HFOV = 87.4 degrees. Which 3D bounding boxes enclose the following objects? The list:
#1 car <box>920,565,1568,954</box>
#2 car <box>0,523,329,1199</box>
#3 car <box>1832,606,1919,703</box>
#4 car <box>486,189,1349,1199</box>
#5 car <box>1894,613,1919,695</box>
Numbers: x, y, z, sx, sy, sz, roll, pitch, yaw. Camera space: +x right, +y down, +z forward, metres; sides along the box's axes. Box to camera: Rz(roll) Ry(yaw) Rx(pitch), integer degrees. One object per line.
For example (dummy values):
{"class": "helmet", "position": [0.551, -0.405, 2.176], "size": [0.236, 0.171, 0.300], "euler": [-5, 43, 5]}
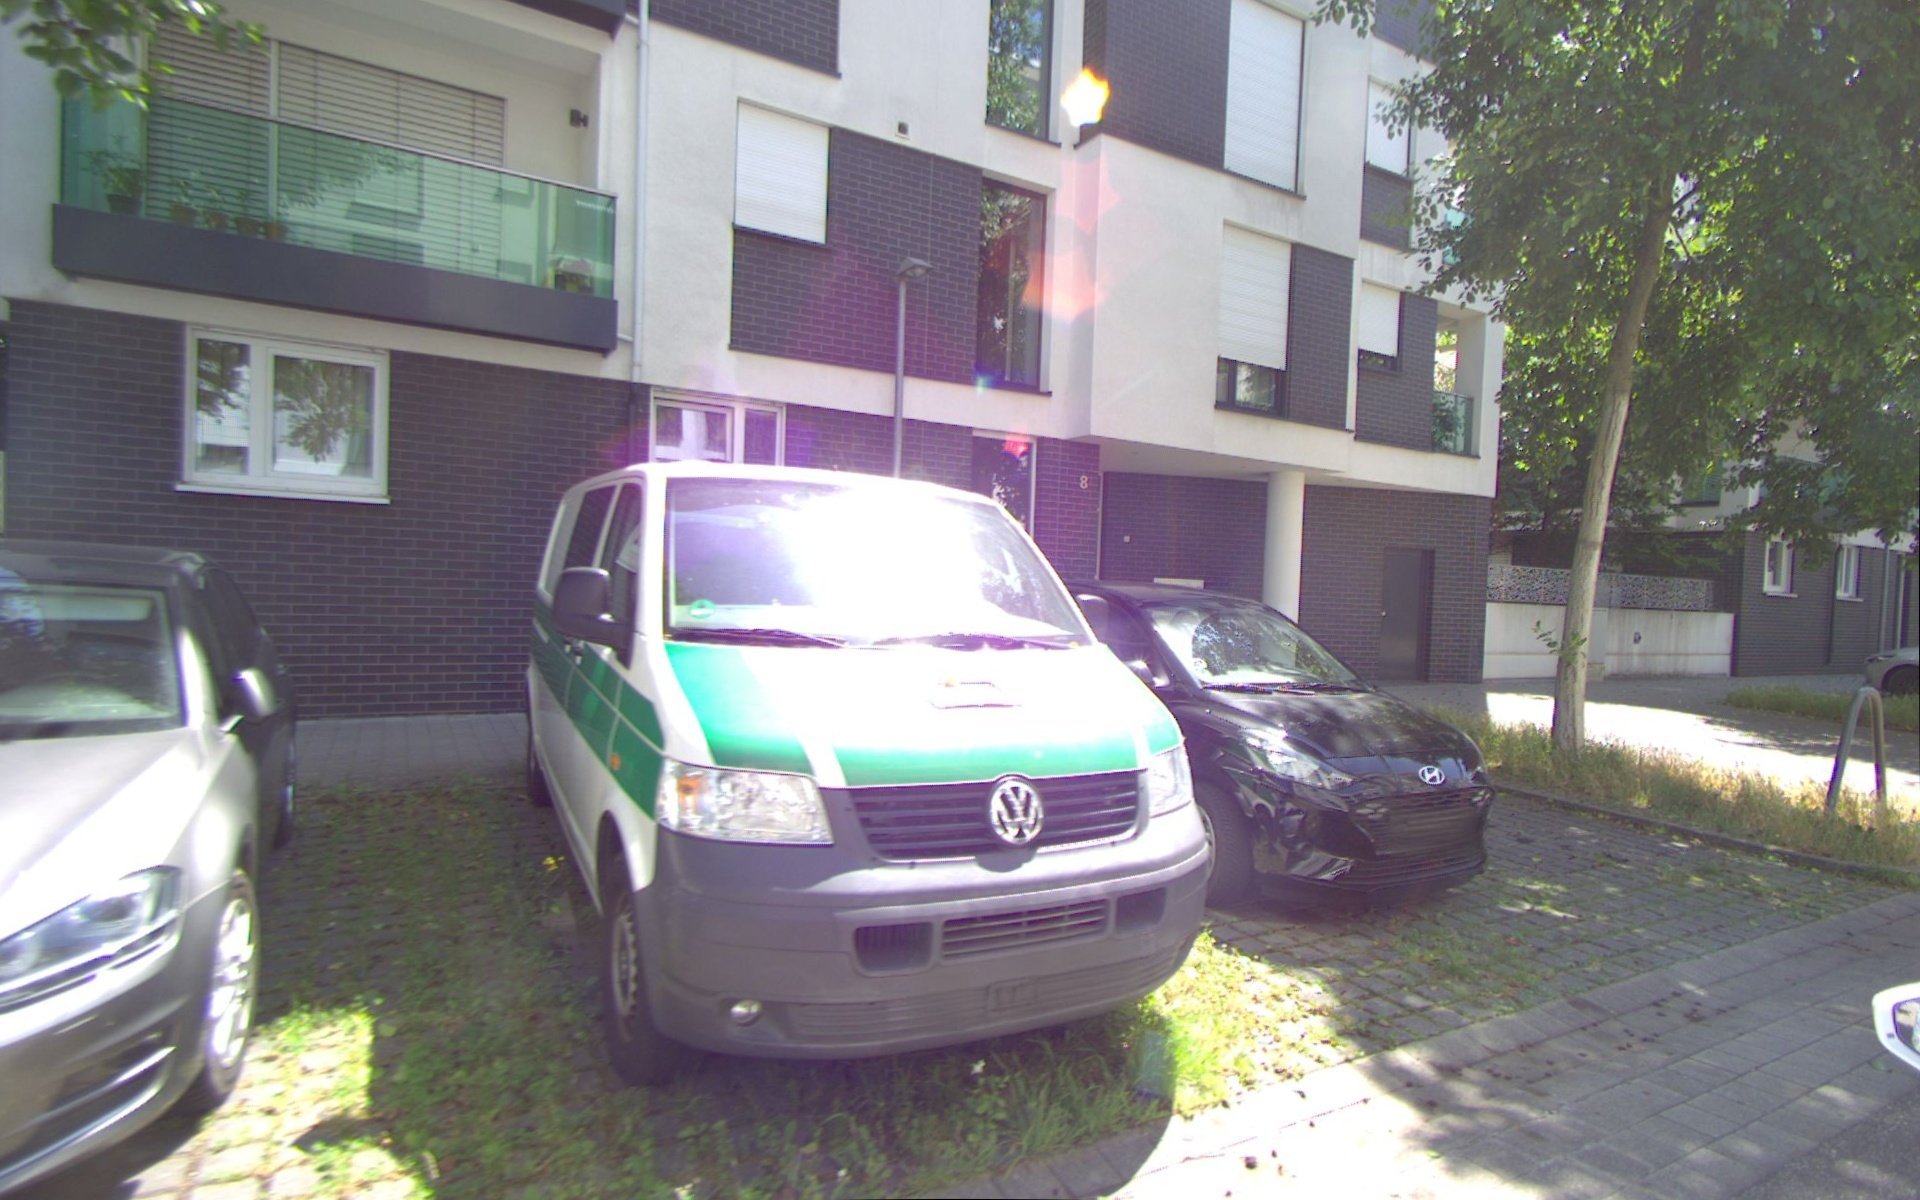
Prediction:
{"class": "car", "position": [1.351, 0.628, 6.105], "size": [1.658, 1.501, 3.605], "euler": [2, 3, -30]}
{"class": "car", "position": [-3.375, 0.537, 3.402], "size": [1.978, 1.509, 4.397], "euler": [2, 1, -31]}
{"class": "car", "position": [17.356, 1.049, 16.412], "size": [1.902, 1.538, 4.231], "euler": [2, 3, -30]}
{"class": "car", "position": [-1.012, 0.190, 4.944], "size": [2.160, 2.139, 5.321], "euler": [2, 1, -27]}
{"class": "car", "position": [19.498, 1.142, 17.531], "size": [1.771, 1.496, 4.296], "euler": [1, 3, -29]}
